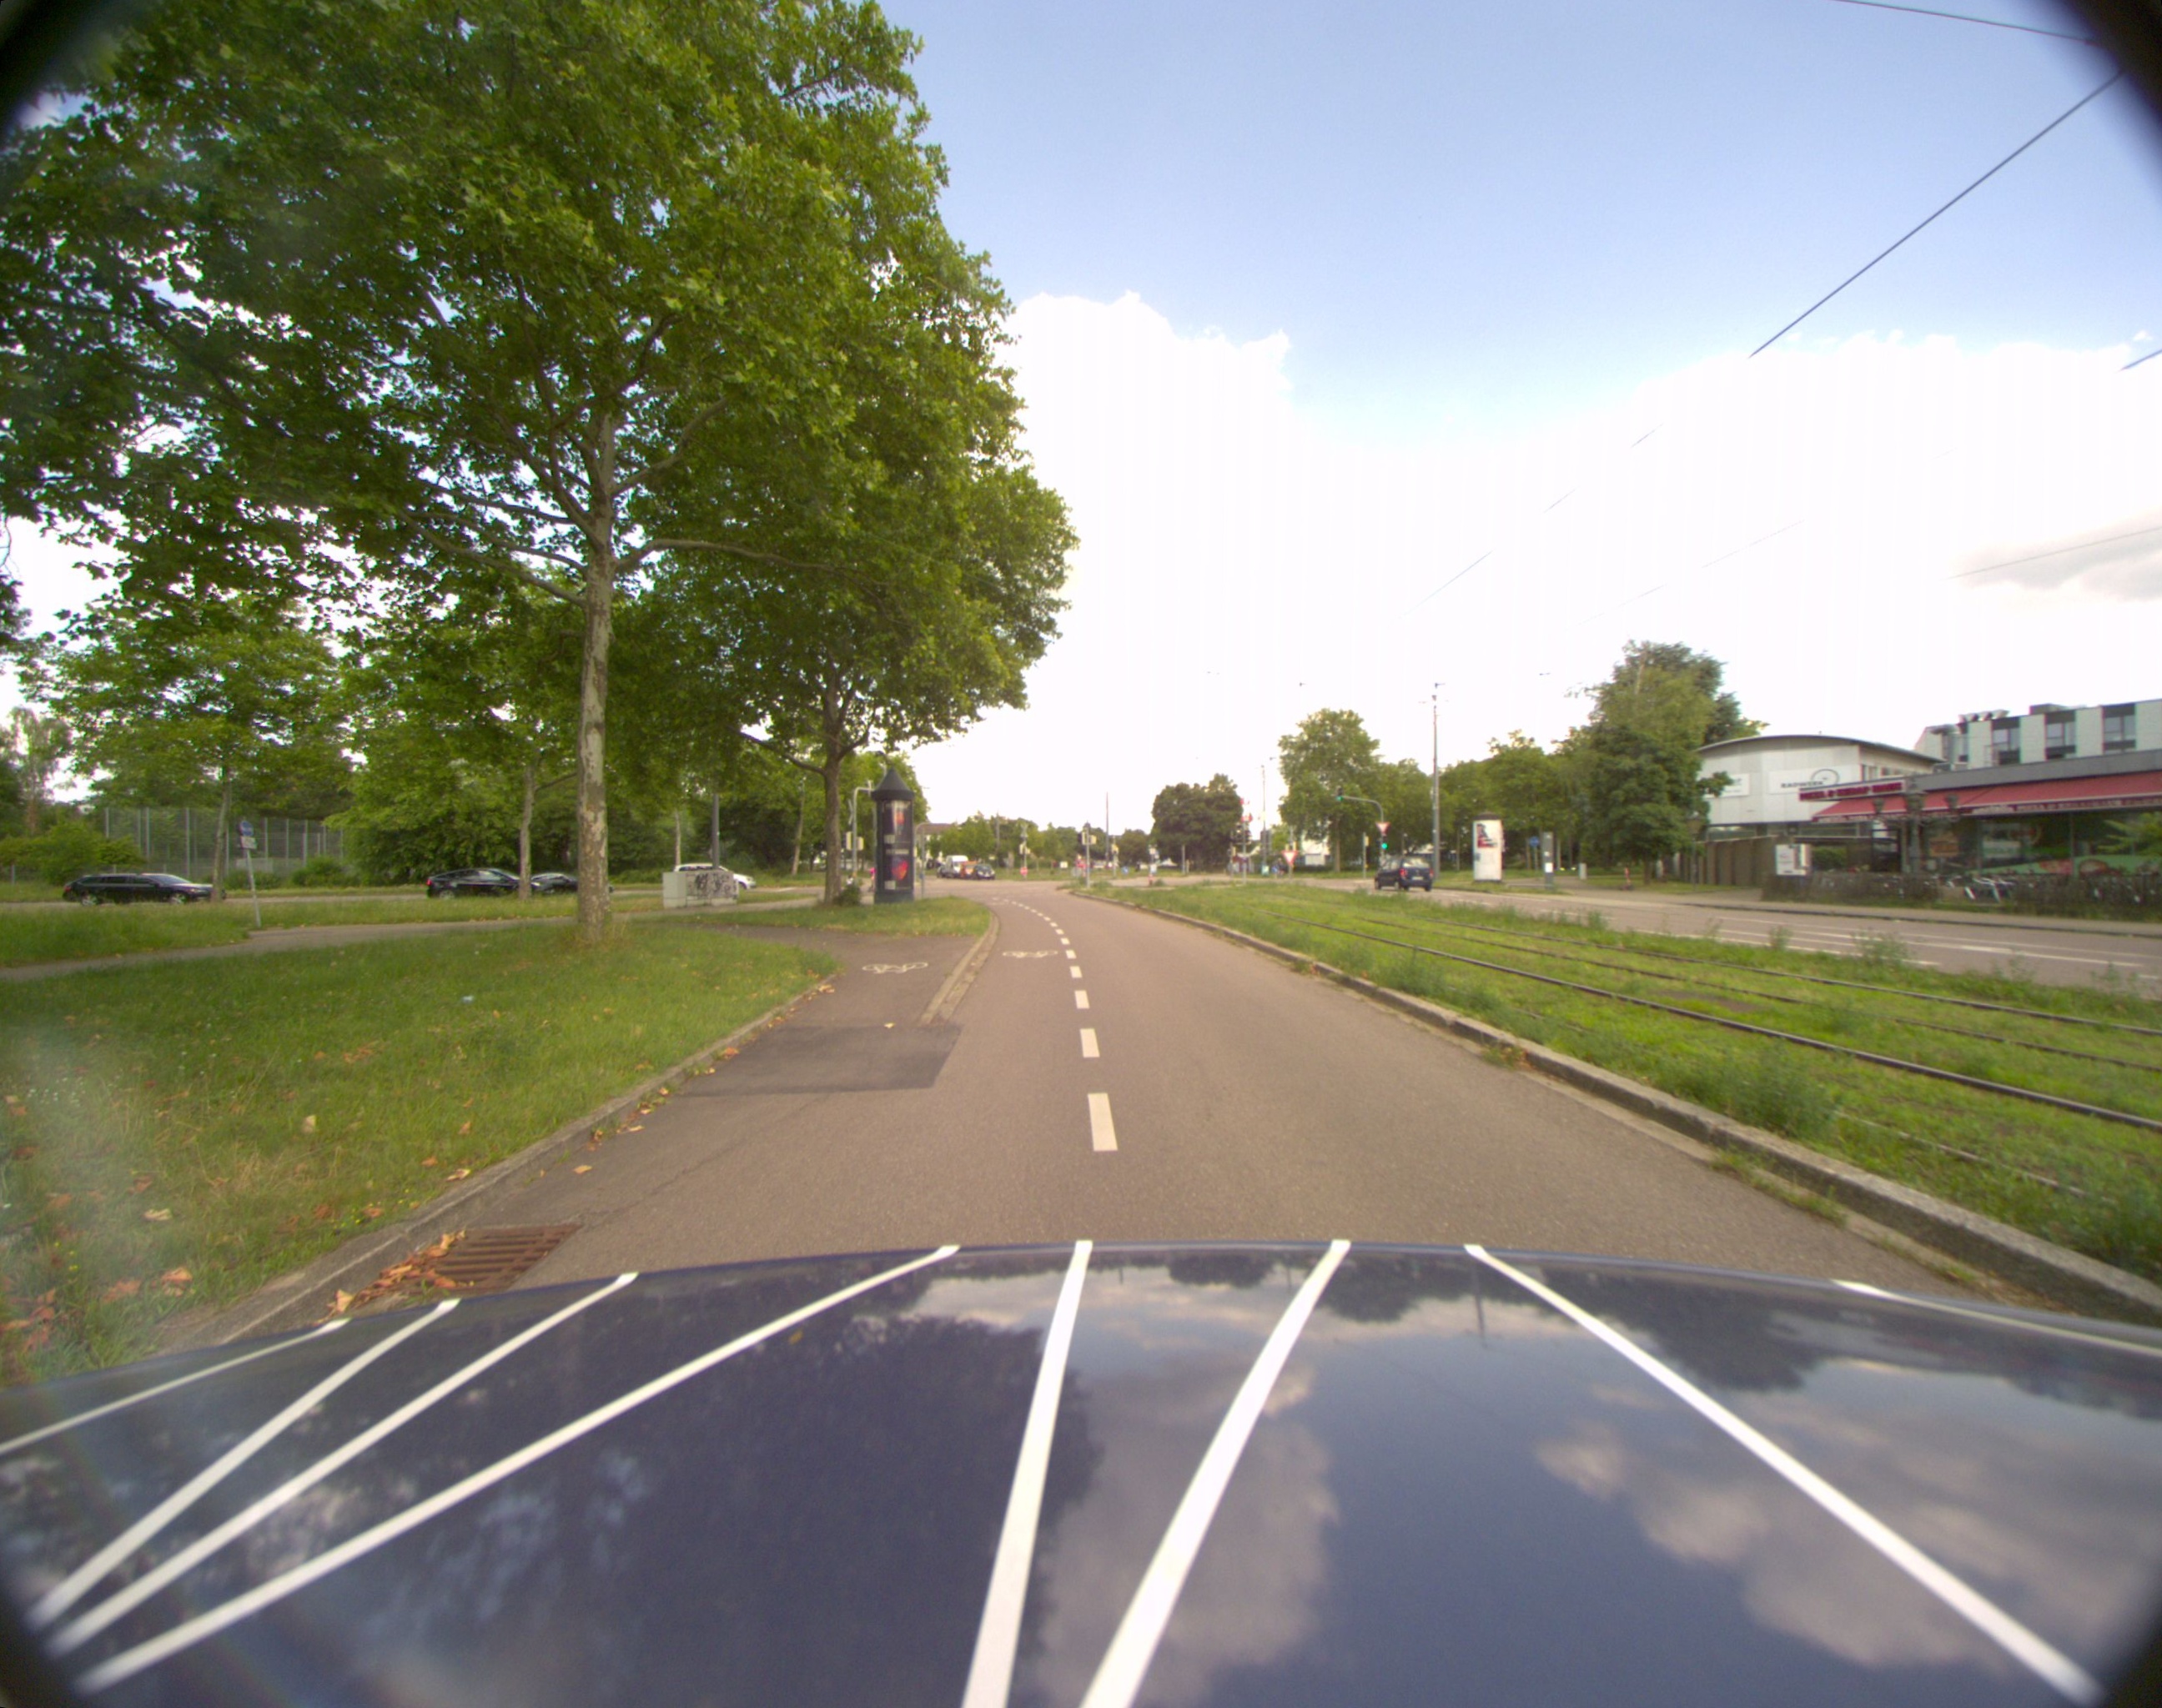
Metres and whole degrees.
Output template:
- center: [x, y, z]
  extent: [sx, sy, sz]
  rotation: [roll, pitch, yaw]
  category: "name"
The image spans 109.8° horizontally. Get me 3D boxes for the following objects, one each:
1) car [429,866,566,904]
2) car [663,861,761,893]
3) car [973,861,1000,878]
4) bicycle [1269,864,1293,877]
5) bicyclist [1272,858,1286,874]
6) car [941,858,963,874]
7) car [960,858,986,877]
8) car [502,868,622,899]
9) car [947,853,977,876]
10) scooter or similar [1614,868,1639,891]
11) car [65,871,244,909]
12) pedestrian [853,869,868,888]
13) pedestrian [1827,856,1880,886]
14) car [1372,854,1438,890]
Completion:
- center: [-27.134, 1.405, 35.531]
  extent: [4.691, 1.601, 1.996]
  rotation: [0, 1, -21]
  category: "car"
- center: [-20.310, 1.242, 42.031]
  extent: [4.692, 1.601, 1.996]
  rotation: [0, 1, -21]
  category: "car"
- center: [-9.361, 1.514, 74.774]
  extent: [1.798, 1.530, 3.994]
  rotation: [-1, 0, -19]
  category: "car"
- center: [17.851, 1.473, 67.878]
  extent: [0.806, 1.053, 2.065]
  rotation: [-1, -2, -31]
  category: "bicycle"
- center: [17.732, 1.084, 68.061]
  extent: [0.806, 1.461, 0.830]
  rotation: [-1, -2, -31]
  category: "bicyclist"
- center: [-15.594, 1.440, 92.035]
  extent: [1.798, 1.924, 4.361]
  rotation: [-1, 0, -20]
  category: "car"
- center: [-11.458, 1.423, 80.493]
  extent: [1.798, 1.924, 4.361]
  rotation: [-1, 0, -20]
  category: "car"
- center: [-26.645, 1.481, 39.190]
  extent: [4.754, 1.461, 1.996]
  rotation: [0, 1, -21]
  category: "car"
- center: [-13.611, 1.158, 86.664]
  extent: [2.242, 2.492, 5.716]
  rotation: [-1, 0, -21]
  category: "car"
- center: [25.107, 1.145, 35.004]
  extent: [0.427, 1.027, 1.224]
  rotation: [-1, 0, 10]
  category: "scooter or similar"
- center: [-41.393, 1.553, 34.107]
  extent: [4.692, 1.504, 1.996]
  rotation: [0, 1, -21]
  category: "car"
- center: [-12.480, 1.372, 43.064]
  extent: [0.723, 1.028, 0.901]
  rotation: [-1, 0, -11]
  category: "pedestrian"
- center: [30.741, 0.668, 30.264]
  extent: [1.156, 1.139, 0.932]
  rotation: [0, 0, 1]
  category: "pedestrian"
- center: [15.472, 0.845, 36.503]
  extent: [1.783, 1.617, 3.496]
  rotation: [0, 0, 2]
  category: "car"
